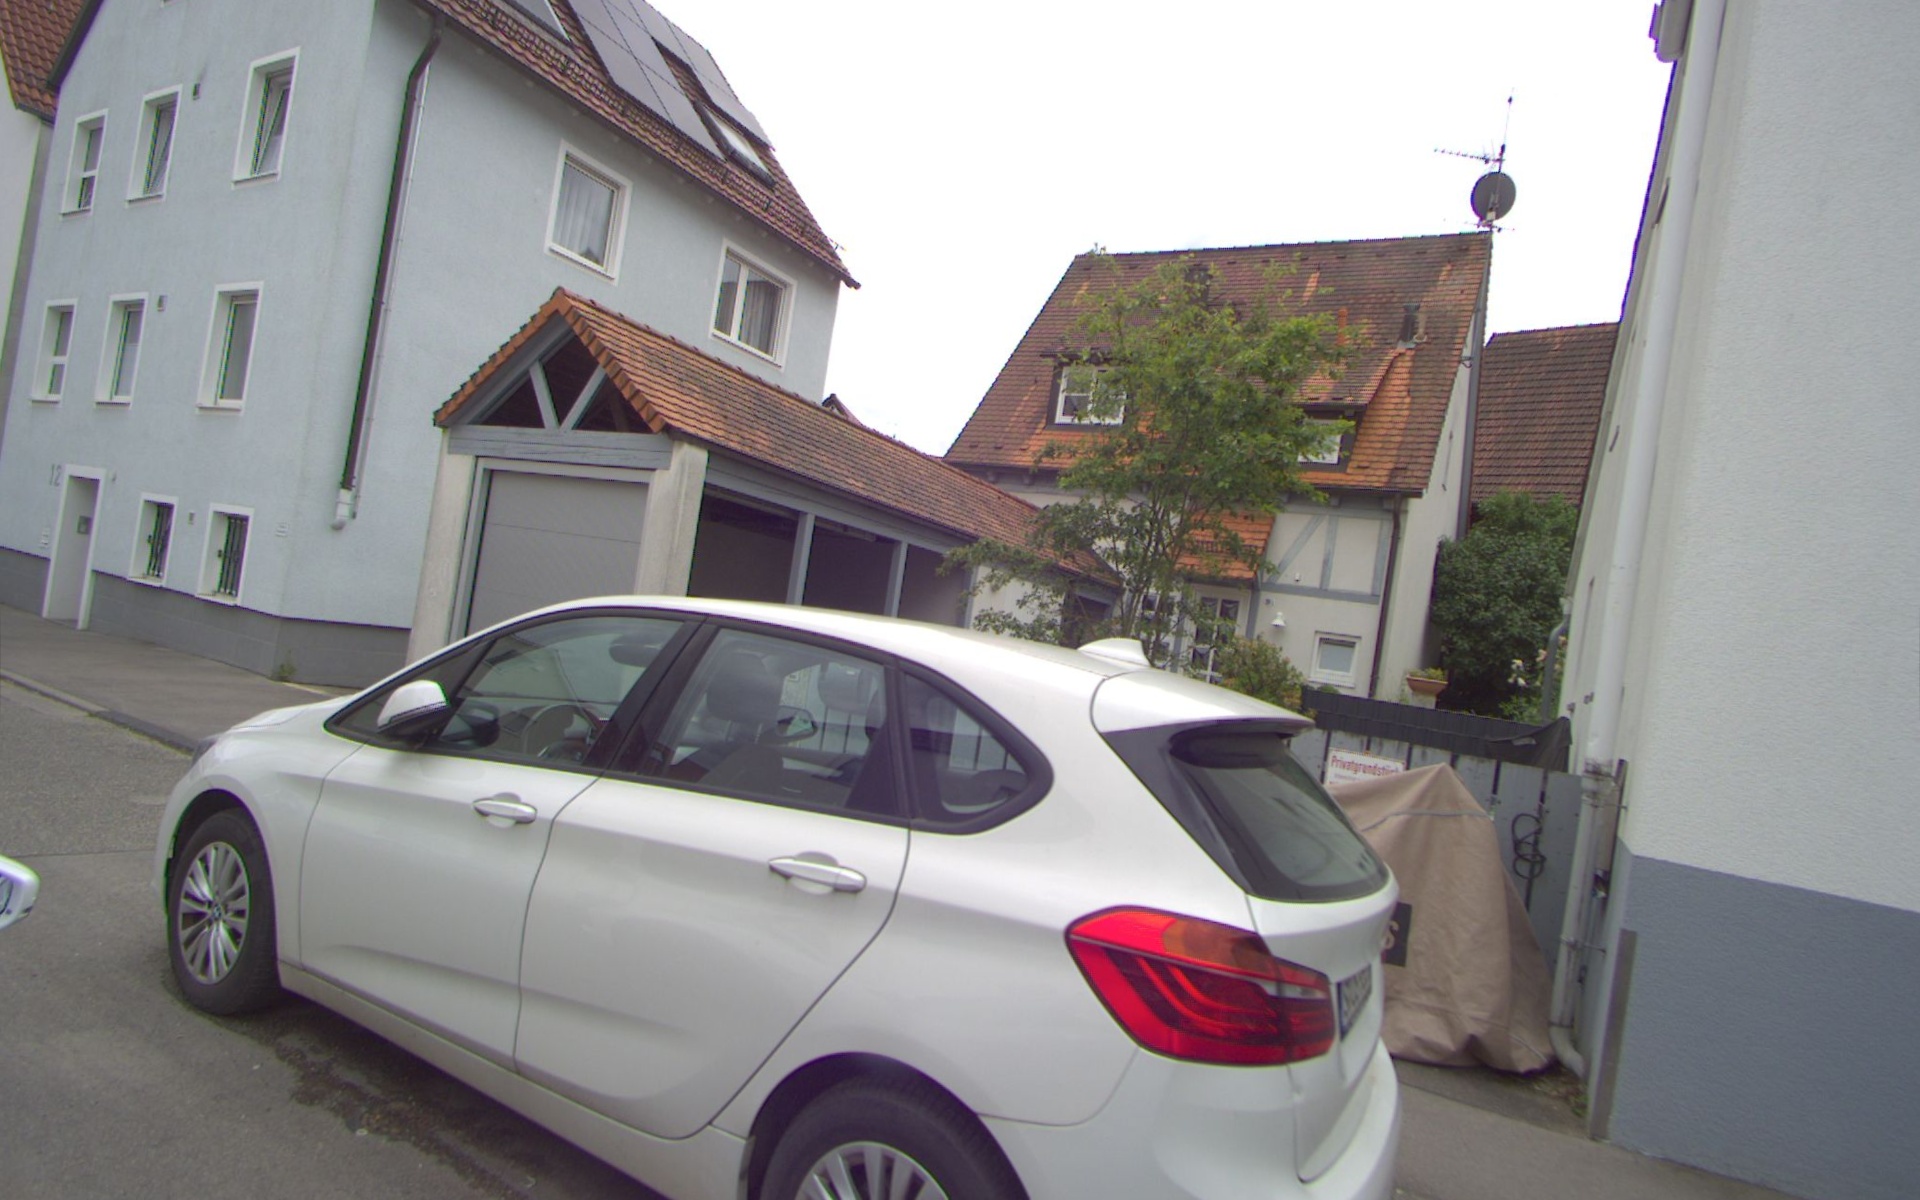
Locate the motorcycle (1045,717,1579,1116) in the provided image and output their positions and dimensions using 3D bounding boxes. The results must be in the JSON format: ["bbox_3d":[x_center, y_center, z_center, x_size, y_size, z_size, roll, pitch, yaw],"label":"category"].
[{"bbox_3d":[1.591,1.304,4.734,2.135,1.186,0.819,6,-1,34],"label":"motorcycle"}]

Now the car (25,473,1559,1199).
[{"bbox_3d":[-0.868,0.706,3.381,4.798,1.633,1.999,7,-4,32],"label":"car"}]
